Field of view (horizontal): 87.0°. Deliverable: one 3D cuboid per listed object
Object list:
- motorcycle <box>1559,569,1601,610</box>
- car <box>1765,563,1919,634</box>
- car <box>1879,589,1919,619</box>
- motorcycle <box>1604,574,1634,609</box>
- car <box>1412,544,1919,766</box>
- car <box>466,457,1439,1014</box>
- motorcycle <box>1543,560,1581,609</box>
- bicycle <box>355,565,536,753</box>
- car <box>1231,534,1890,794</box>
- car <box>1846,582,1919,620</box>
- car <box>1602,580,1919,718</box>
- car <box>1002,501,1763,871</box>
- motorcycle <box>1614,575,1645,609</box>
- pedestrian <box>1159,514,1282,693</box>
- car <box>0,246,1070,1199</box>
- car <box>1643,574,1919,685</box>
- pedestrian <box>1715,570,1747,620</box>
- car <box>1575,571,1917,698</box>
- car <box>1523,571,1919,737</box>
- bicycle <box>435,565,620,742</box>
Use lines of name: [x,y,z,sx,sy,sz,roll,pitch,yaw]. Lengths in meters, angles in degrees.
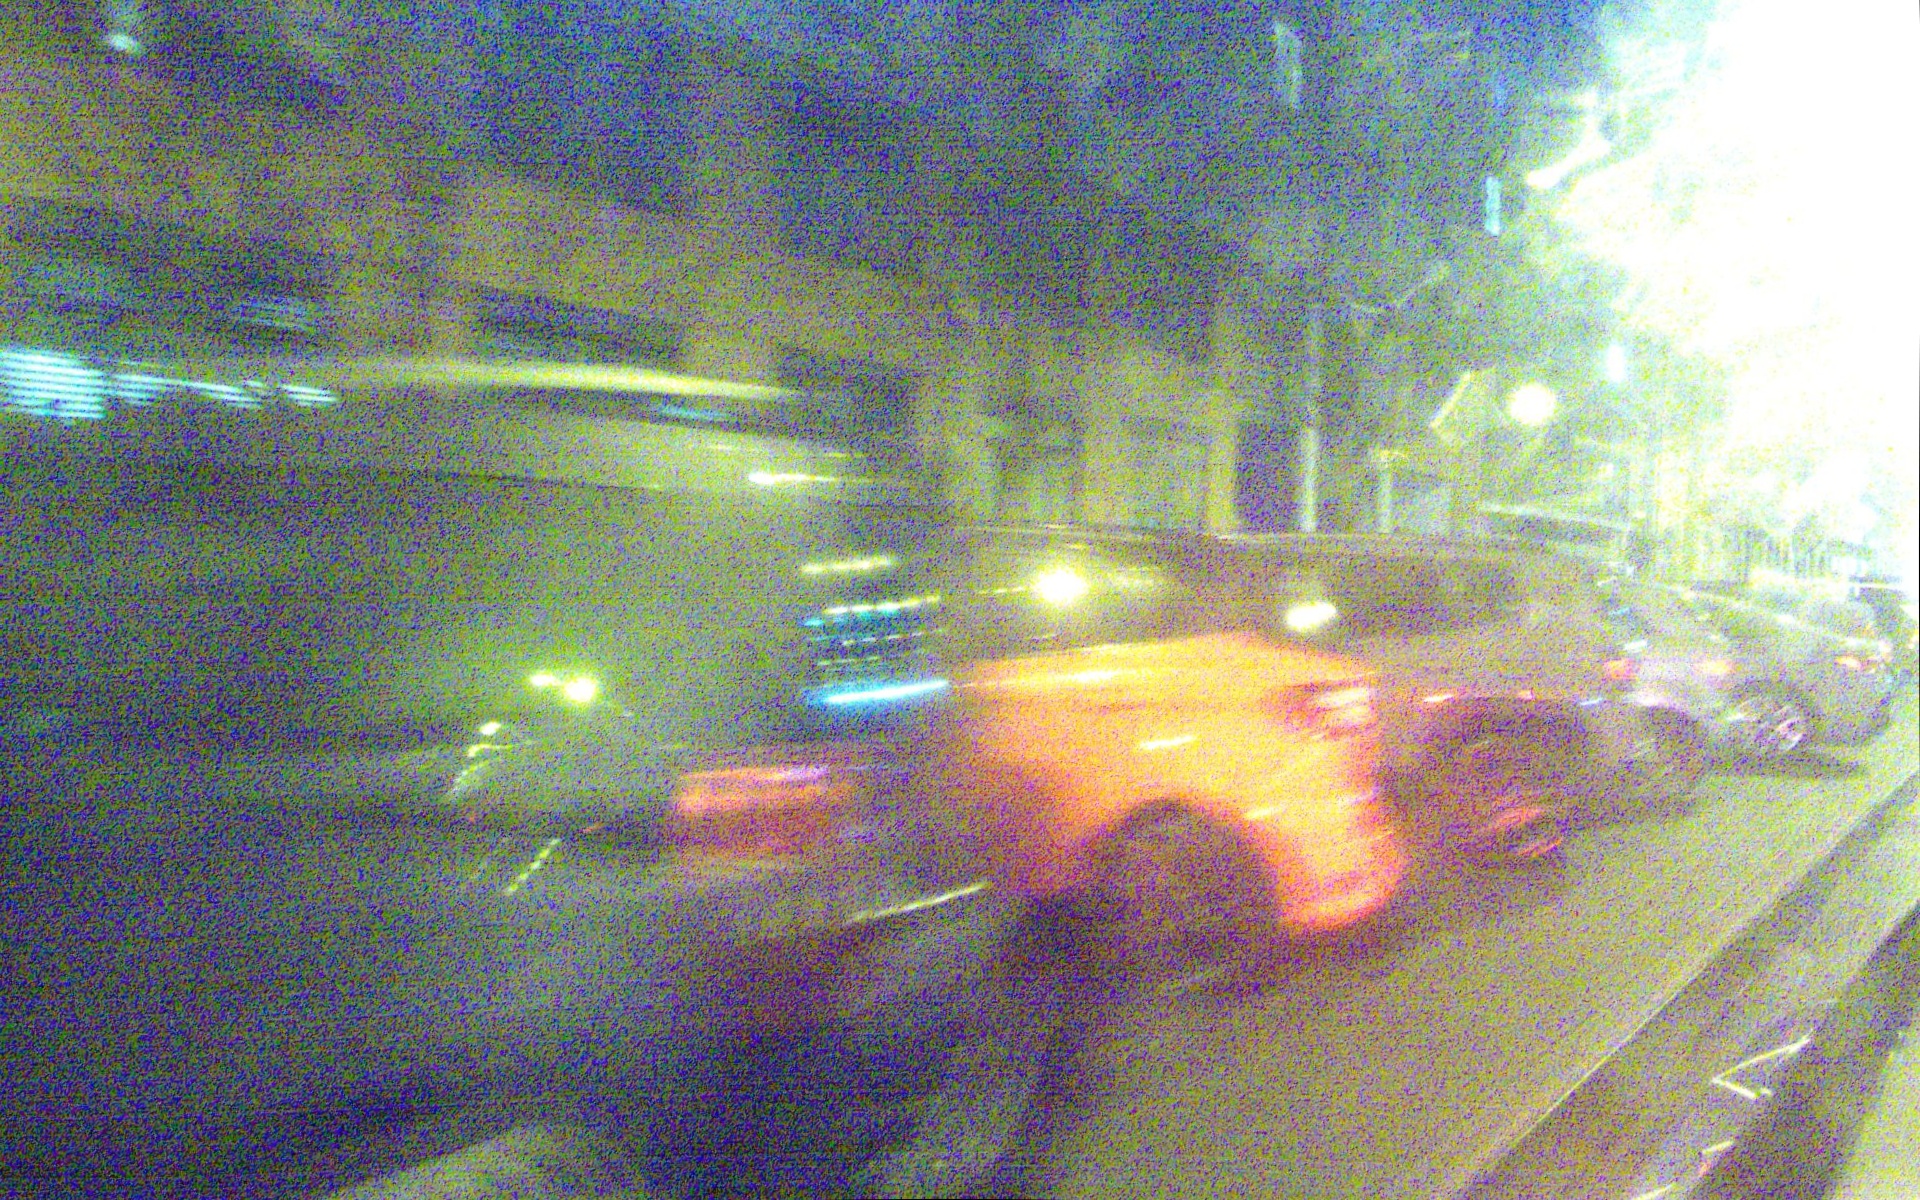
motorcycle: [19.016,-0.329,31.033,2.089,1.223,0.523,0,1,-42]
car: [32.348,-0.075,36.269,4.871,2.370,2.222,2,2,15]
car: [51.911,0.258,53.875,4.051,1.510,1.590,3,2,12]
motorcycle: [20.974,-0.273,32.180,0.522,1.081,2.027,1,1,41]
car: [6.562,0.418,9.593,4.059,1.787,1.845,1,0,22]
car: [-0.056,0.401,4.537,3.722,1.750,1.708,0,0,16]
motorcycle: [17.270,-0.435,29.025,0.522,1.335,2.093,1,1,42]
bicycle: [-3.698,0.344,7.183,1.972,1.067,0.502,6,4,43]
car: [4.265,0.376,7.930,4.011,1.631,1.832,1,0,20]
car: [44.881,0.070,48.026,3.753,1.710,1.826,3,2,18]
car: [10.073,0.544,12.935,3.020,1.571,1.490,1,0,28]
car: [2.290,0.389,6.226,3.754,1.750,1.731,0,0,19]
motorcycle: [22.253,-0.265,33.625,1.597,1.081,0.523,0,1,-44]
pedestrian: [2.898,0.005,11.267,0.932,1.856,0.839,-2,7,-45]
car: [-1.933,0.329,2.711,4.185,1.881,1.710,3,3,14]
car: [13.787,0.433,16.864,3.673,1.541,1.644,3,3,25]
pedestrian: [29.528,-0.194,38.756,0.828,1.864,0.747,3,1,-42]
car: [11.556,0.429,15.218,3.673,1.541,1.644,3,3,25]
car: [8.411,0.509,11.414,3.532,1.631,1.696,1,0,28]
bicycle: [-3.263,0.326,7.521,1.972,1.067,0.502,6,4,43]
